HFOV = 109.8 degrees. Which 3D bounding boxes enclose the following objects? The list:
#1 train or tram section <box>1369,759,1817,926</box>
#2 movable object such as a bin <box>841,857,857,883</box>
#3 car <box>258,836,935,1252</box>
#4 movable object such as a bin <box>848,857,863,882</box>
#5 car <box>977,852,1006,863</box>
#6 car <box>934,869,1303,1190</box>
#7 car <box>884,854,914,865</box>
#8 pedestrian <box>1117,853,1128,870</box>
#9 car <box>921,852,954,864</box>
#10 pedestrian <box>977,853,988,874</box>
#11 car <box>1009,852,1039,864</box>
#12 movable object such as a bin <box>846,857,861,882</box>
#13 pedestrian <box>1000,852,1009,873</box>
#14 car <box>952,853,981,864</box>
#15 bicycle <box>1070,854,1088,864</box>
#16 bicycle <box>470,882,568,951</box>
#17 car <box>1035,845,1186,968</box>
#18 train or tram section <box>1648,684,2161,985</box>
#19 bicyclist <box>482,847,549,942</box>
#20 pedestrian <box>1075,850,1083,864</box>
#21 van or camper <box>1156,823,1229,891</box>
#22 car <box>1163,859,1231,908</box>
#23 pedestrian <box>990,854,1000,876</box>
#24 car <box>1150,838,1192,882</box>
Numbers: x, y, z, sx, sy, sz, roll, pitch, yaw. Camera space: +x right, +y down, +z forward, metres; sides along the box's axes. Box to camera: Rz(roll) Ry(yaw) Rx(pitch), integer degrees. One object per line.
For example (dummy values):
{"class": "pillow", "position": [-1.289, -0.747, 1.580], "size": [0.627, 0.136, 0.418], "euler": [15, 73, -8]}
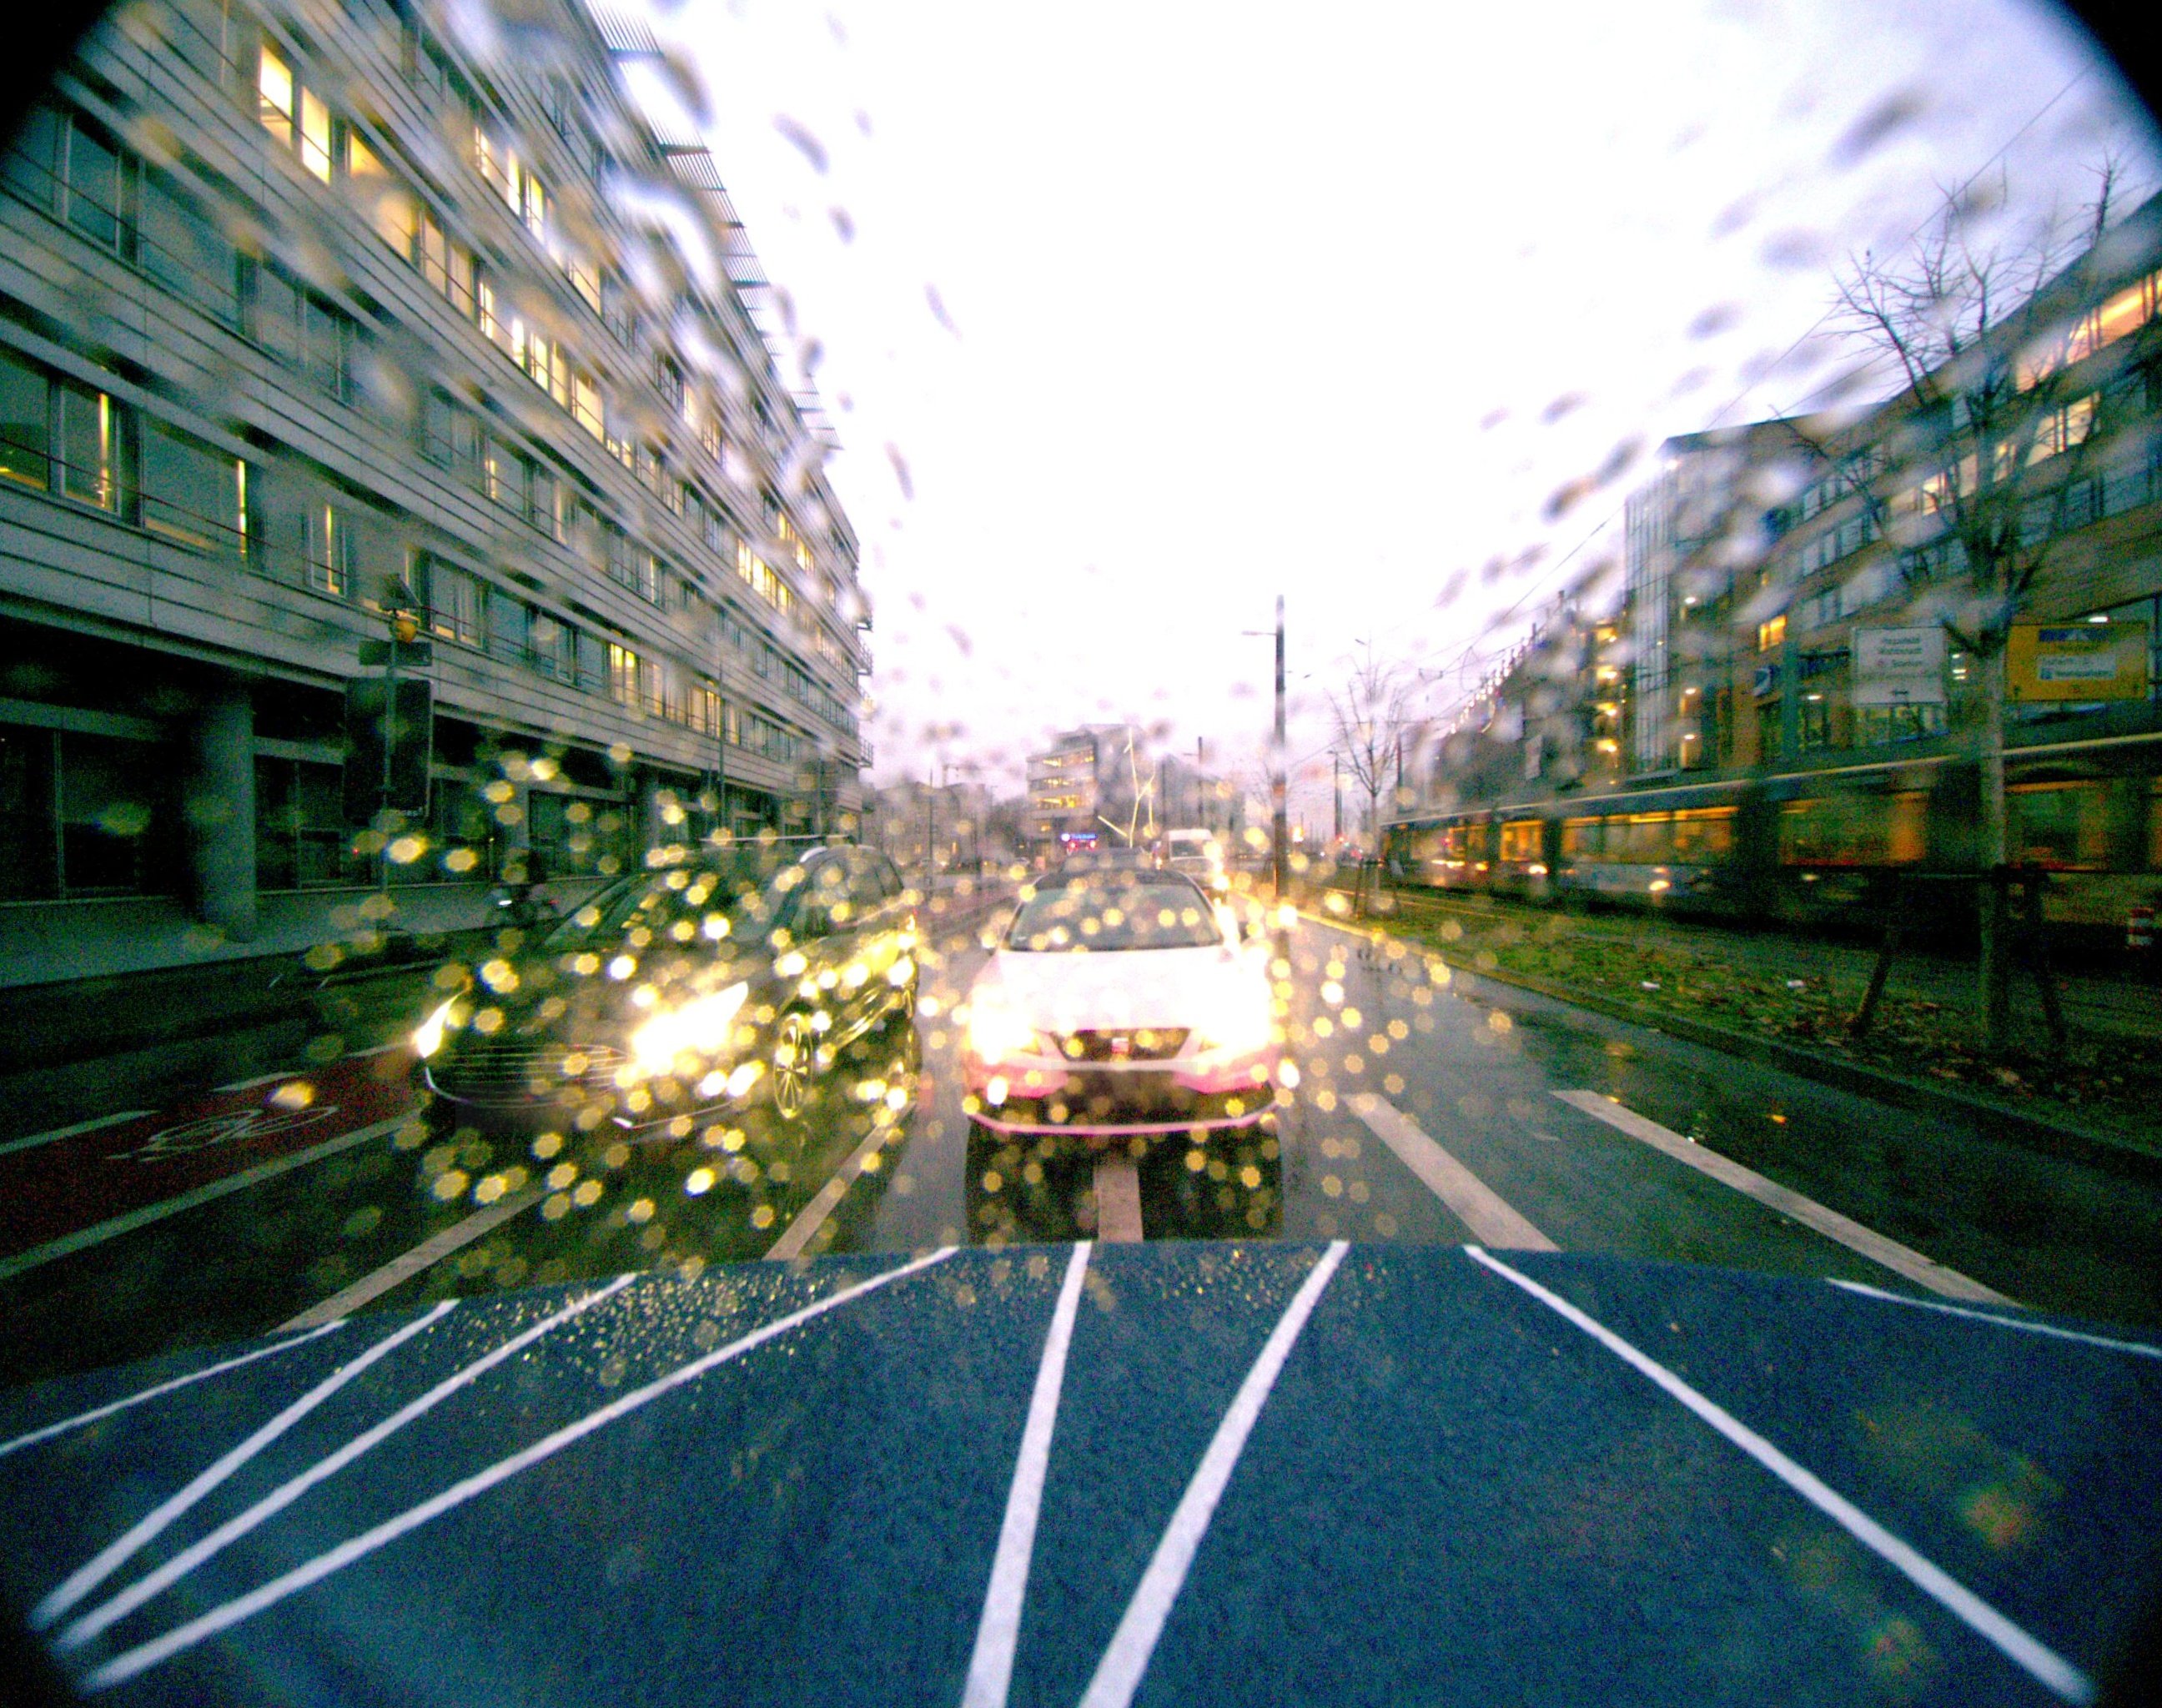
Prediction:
{"class": "train or tram section", "position": [14.804, -0.301, 26.388], "size": [2.871, 3.593, 20.073], "euler": [0, 0, 3]}
{"class": "movable object such as a bin", "position": [-13.256, 0.907, 43.382], "size": [0.666, 1.420, 0.840], "euler": [-1, 1, -2]}
{"class": "car", "position": [-2.610, 0.845, 5.709], "size": [1.887, 1.800, 4.671], "euler": [-2, 0, 2]}
{"class": "movable object such as a bin", "position": [-13.416, 0.925, 45.209], "size": [0.666, 1.468, 0.840], "euler": [-1, 1, -2]}
{"class": "car", "position": [-13.025, 0.557, 110.681], "size": [3.759, 1.528, 1.782], "euler": [-1, 0, 17]}
{"class": "car", "position": [0.212, 0.900, 5.684], "size": [1.782, 1.464, 3.943], "euler": [-1, 0, 1]}
{"class": "car", "position": [-27.845, 0.834, 116.070], "size": [3.996, 1.663, 2.002], "euler": [-1, 1, 17]}
{"class": "pedestrian", "position": [4.828, 0.881, 88.577], "size": [1.118, 2.002, 1.034], "euler": [0, 1, 15]}
{"class": "car", "position": [-21.407, 0.620, 113.709], "size": [4.368, 1.750, 2.002], "euler": [-1, 1, 17]}
{"class": "pedestrian", "position": [-7.883, 0.749, 60.647], "size": [0.747, 1.692, 0.969], "euler": [2, 1, -3]}
{"class": "car", "position": [-8.139, 0.528, 109.489], "size": [3.918, 1.699, 1.782], "euler": [-1, 1, 15]}
{"class": "movable object such as a bin", "position": [-13.252, 0.921, 44.279], "size": [0.666, 1.420, 0.840], "euler": [-1, 1, -2]}
{"class": "pedestrian", "position": [-6.022, 0.685, 60.020], "size": [0.616, 1.659, 0.884], "euler": [1, 1, -3]}
{"class": "car", "position": [-16.929, 0.712, 112.222], "size": [3.759, 1.528, 1.782], "euler": [-1, 0, 17]}
{"class": "bicycle", "position": [-0.231, 0.631, 95.029], "size": [2.204, 1.182, 0.668], "euler": [0, 1, -1]}
{"class": "bicycle", "position": [-10.940, 1.189, 14.870], "size": [0.681, 1.191, 1.760], "euler": [1, 0, -3]}
{"class": "car", "position": [0.460, 0.754, 13.461], "size": [2.169, 1.744, 4.541], "euler": [-2, 1, 0]}
{"class": "train or tram section", "position": [14.343, -0.231, 7.550], "size": [2.872, 3.593, 19.210], "euler": [0, 0, -1]}
{"class": "bicyclist", "position": [-10.933, 0.755, 14.716], "size": [0.671, 1.788, 0.806], "euler": [0, 1, -3]}
{"class": "pedestrian", "position": [-0.250, 0.352, 95.032], "size": [0.893, 1.783, 0.668], "euler": [0, 1, -1]}
{"class": "van or camper", "position": [4.521, 0.102, 31.796], "size": [2.153, 2.517, 5.898], "euler": [-1, 0, 0]}
{"class": "car", "position": [3.646, 0.884, 24.406], "size": [1.759, 1.337, 4.057], "euler": [-1, 1, 3]}
{"class": "pedestrian", "position": [-6.769, 0.887, 59.841], "size": [0.651, 1.692, 0.884], "euler": [1, 1, -3]}
{"class": "car", "position": [6.147, 0.383, 52.807], "size": [2.129, 2.847, 5.813], "euler": [-1, 0, -1]}
